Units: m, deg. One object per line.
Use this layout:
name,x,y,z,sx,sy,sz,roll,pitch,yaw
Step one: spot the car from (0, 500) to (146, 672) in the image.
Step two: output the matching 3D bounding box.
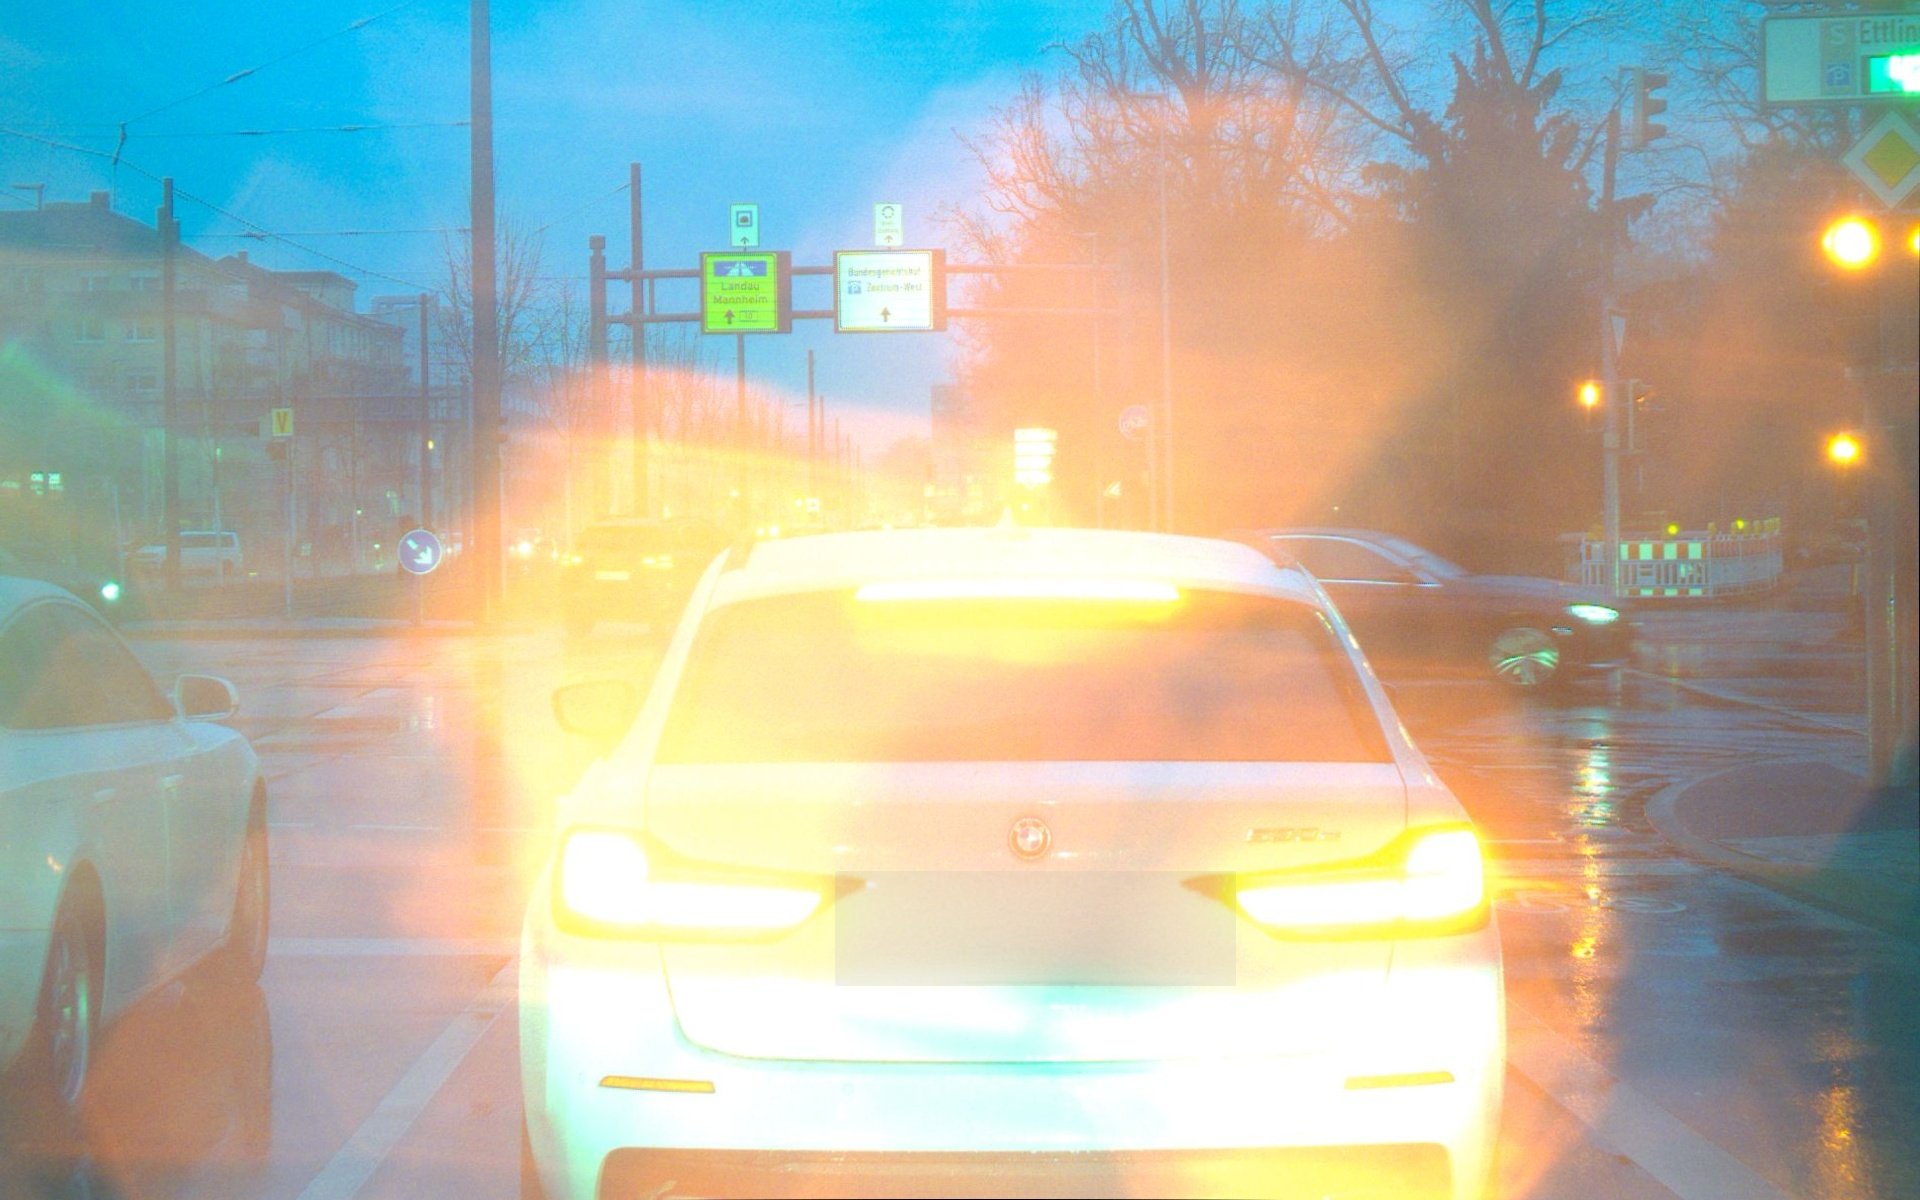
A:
car,-11.077,-0.151,36.174,4.701,1.714,1.899,0,0,24

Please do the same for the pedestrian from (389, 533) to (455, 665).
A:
pedestrian,-7.647,-0.011,48.864,0.902,1.850,0.812,1,0,-9

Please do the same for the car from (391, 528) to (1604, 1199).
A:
car,-0.028,0.573,7.837,1.993,1.451,4.369,0,1,-3

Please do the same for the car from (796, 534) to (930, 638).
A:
car,-1.619,-0.236,56.095,1.842,1.603,3.946,1,0,-6

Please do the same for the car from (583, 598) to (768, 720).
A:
car,-3.969,0.789,48.485,1.843,1.603,3.944,1,0,7

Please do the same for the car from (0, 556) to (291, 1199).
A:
car,-3.139,0.637,9.268,1.993,1.451,4.369,0,1,-3

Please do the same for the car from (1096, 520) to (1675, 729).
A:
car,3.708,0.194,29.903,4.700,1.714,1.867,0,0,20

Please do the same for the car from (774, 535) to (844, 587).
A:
car,-4.408,-1.150,100.173,1.993,1.451,4.369,0,1,-3
